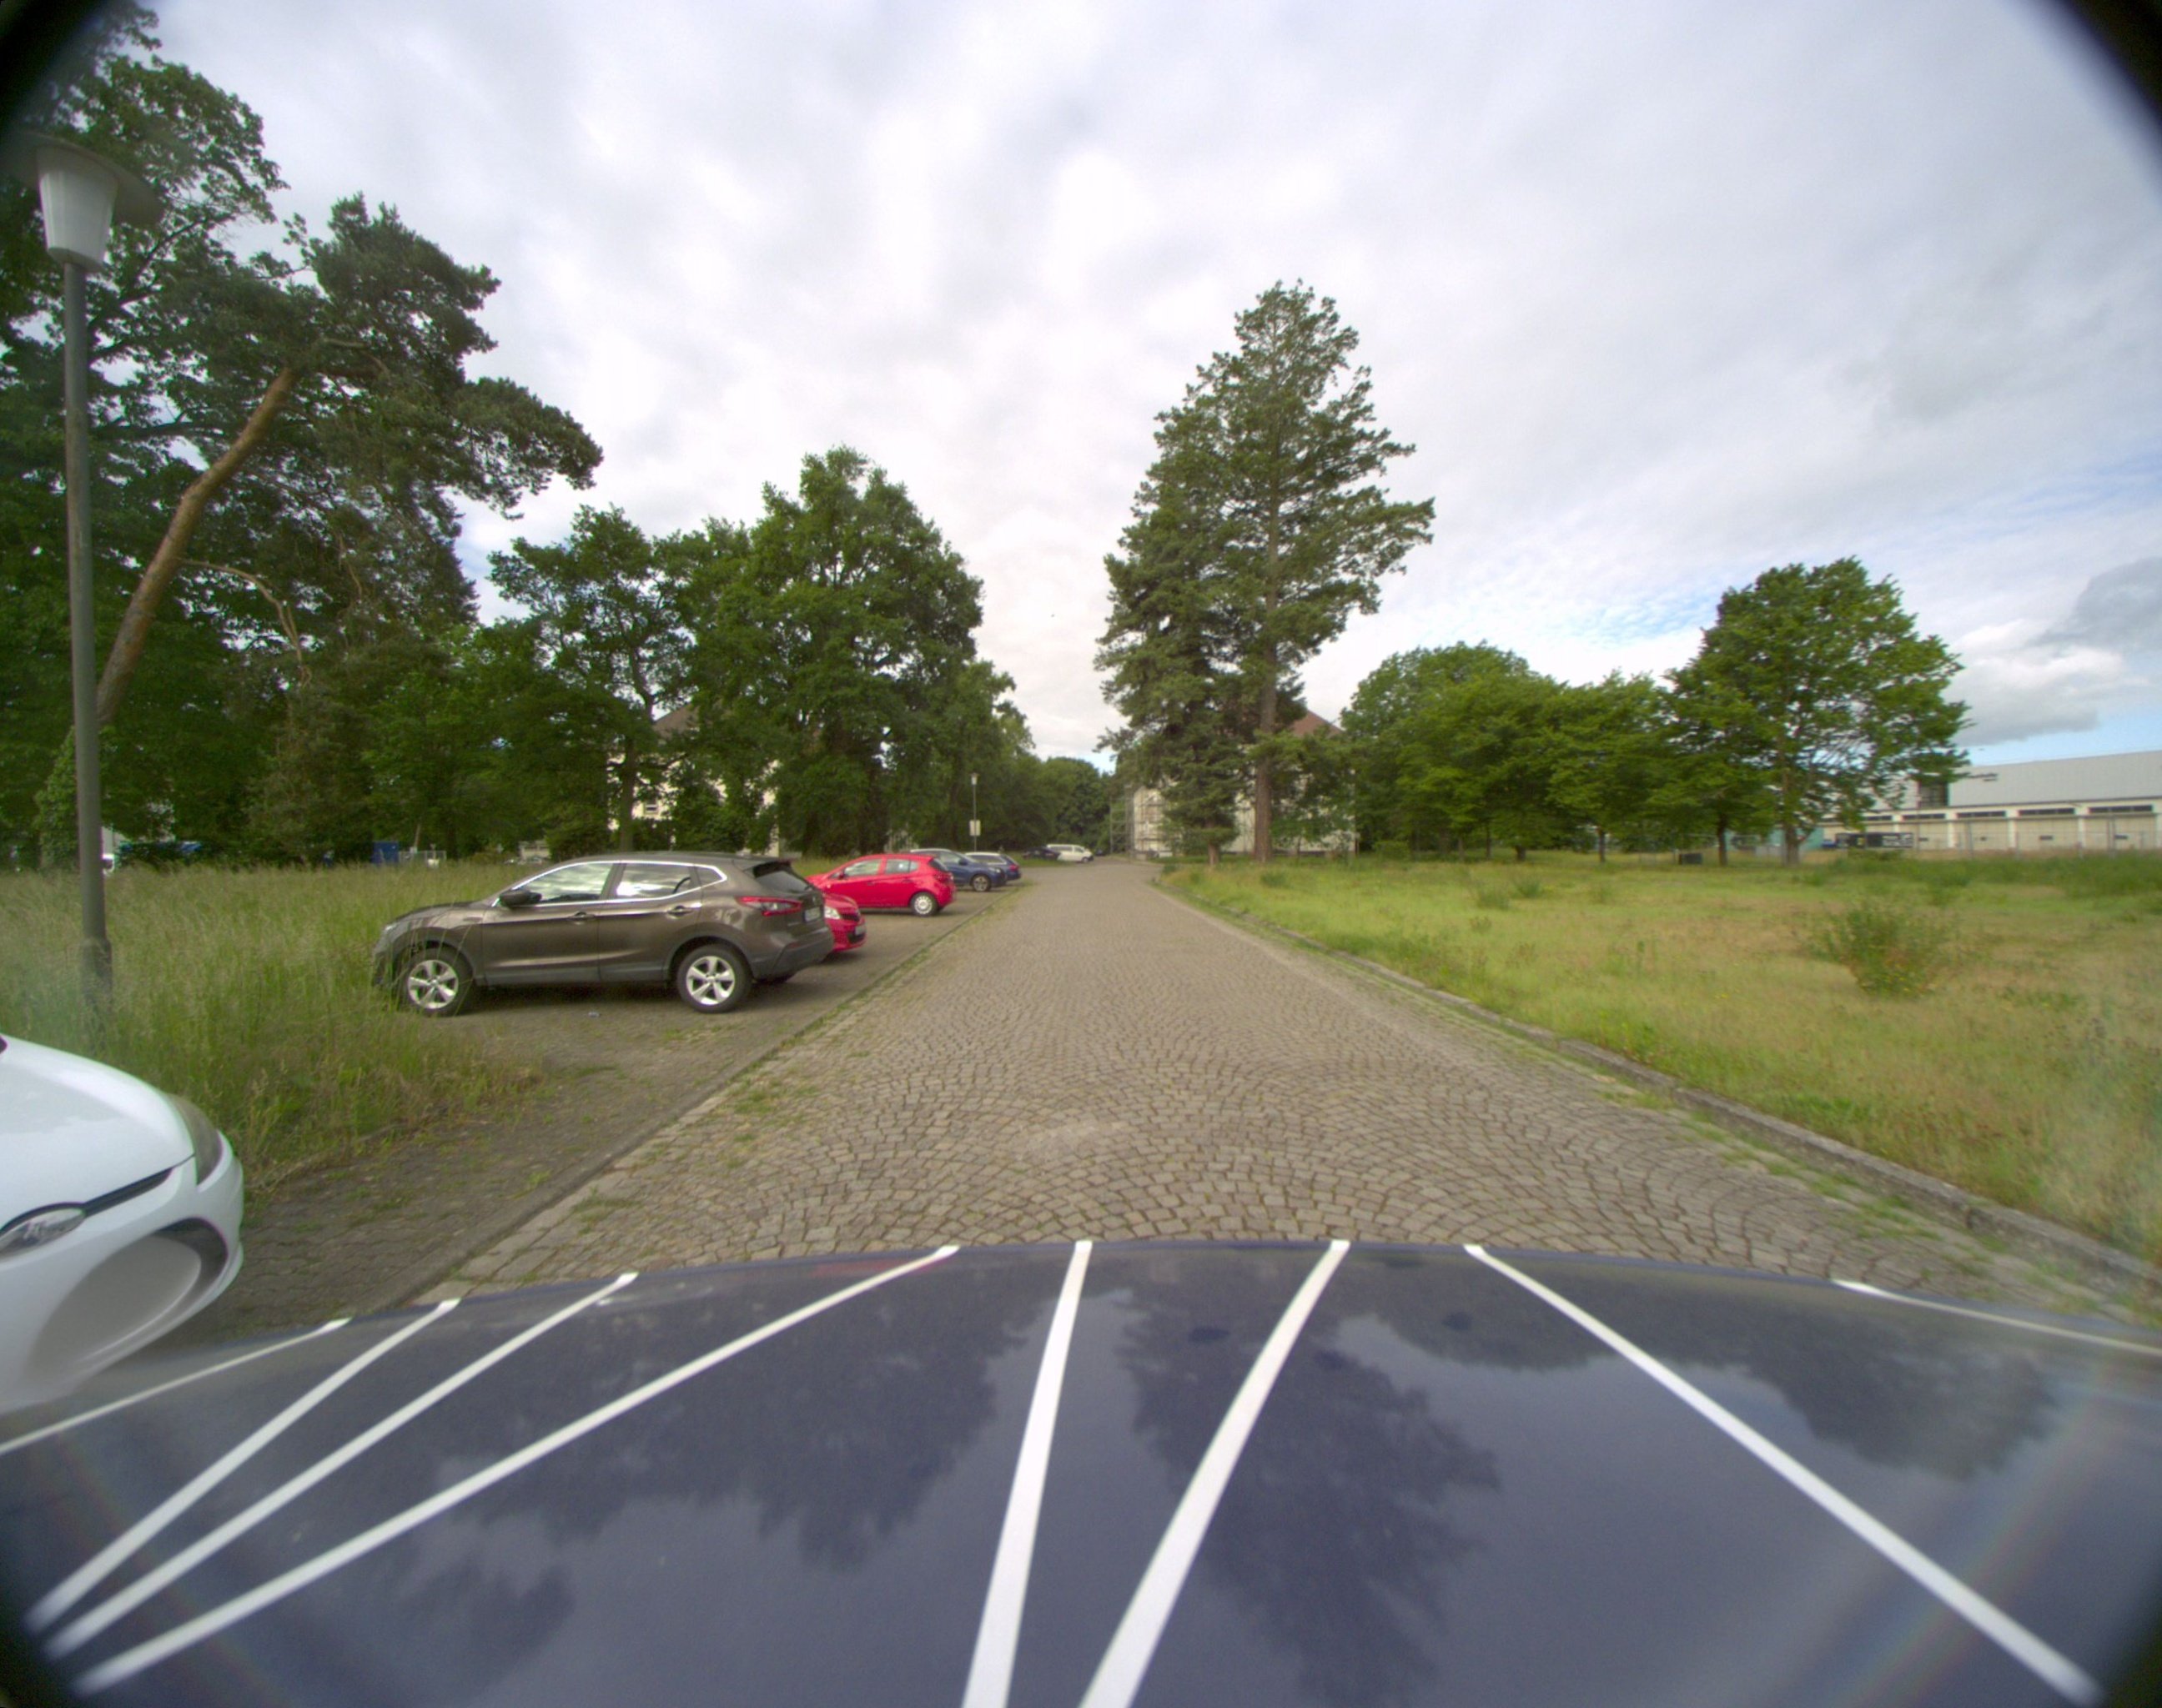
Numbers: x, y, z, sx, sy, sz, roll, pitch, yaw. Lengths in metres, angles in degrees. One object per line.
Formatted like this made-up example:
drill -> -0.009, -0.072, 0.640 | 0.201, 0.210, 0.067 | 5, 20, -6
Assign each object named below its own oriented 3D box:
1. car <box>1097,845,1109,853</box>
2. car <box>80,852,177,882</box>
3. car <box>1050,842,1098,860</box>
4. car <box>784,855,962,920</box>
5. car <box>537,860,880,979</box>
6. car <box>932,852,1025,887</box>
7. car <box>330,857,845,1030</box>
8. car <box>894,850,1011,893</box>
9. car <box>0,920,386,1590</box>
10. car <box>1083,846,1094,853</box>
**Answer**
car -> 4.366, -0.998, 149.043 | 1.870, 1.408, 4.694 | 1, 1, -4
car -> -68.547, 0.895, 54.784 | 1.999, 2.002, 3.998 | -1, 1, -5
car -> -0.761, -0.374, 82.084 | 5.141, 1.861, 1.723 | 1, 1, -1
car -> -4.937, 0.789, 18.390 | 3.895, 1.451, 1.582 | 1, 1, -1
car -> -5.111, 0.866, 10.841 | 4.016, 1.477, 1.765 | 1, 1, 0
car -> -4.436, 0.660, 33.291 | 3.878, 1.417, 1.582 | 1, 1, -1
car -> -4.941, 0.856, 8.114 | 4.271, 1.589, 1.821 | 1, 1, -1
car -> -4.786, 0.641, 28.630 | 4.150, 1.529, 1.582 | 1, 1, -1
car -> -4.517, 0.951, 1.846 | 3.872, 1.463, 1.841 | 3, 1, -1
car -> 1.480, -0.915, 148.494 | 1.870, 1.408, 4.694 | 1, 1, -4
